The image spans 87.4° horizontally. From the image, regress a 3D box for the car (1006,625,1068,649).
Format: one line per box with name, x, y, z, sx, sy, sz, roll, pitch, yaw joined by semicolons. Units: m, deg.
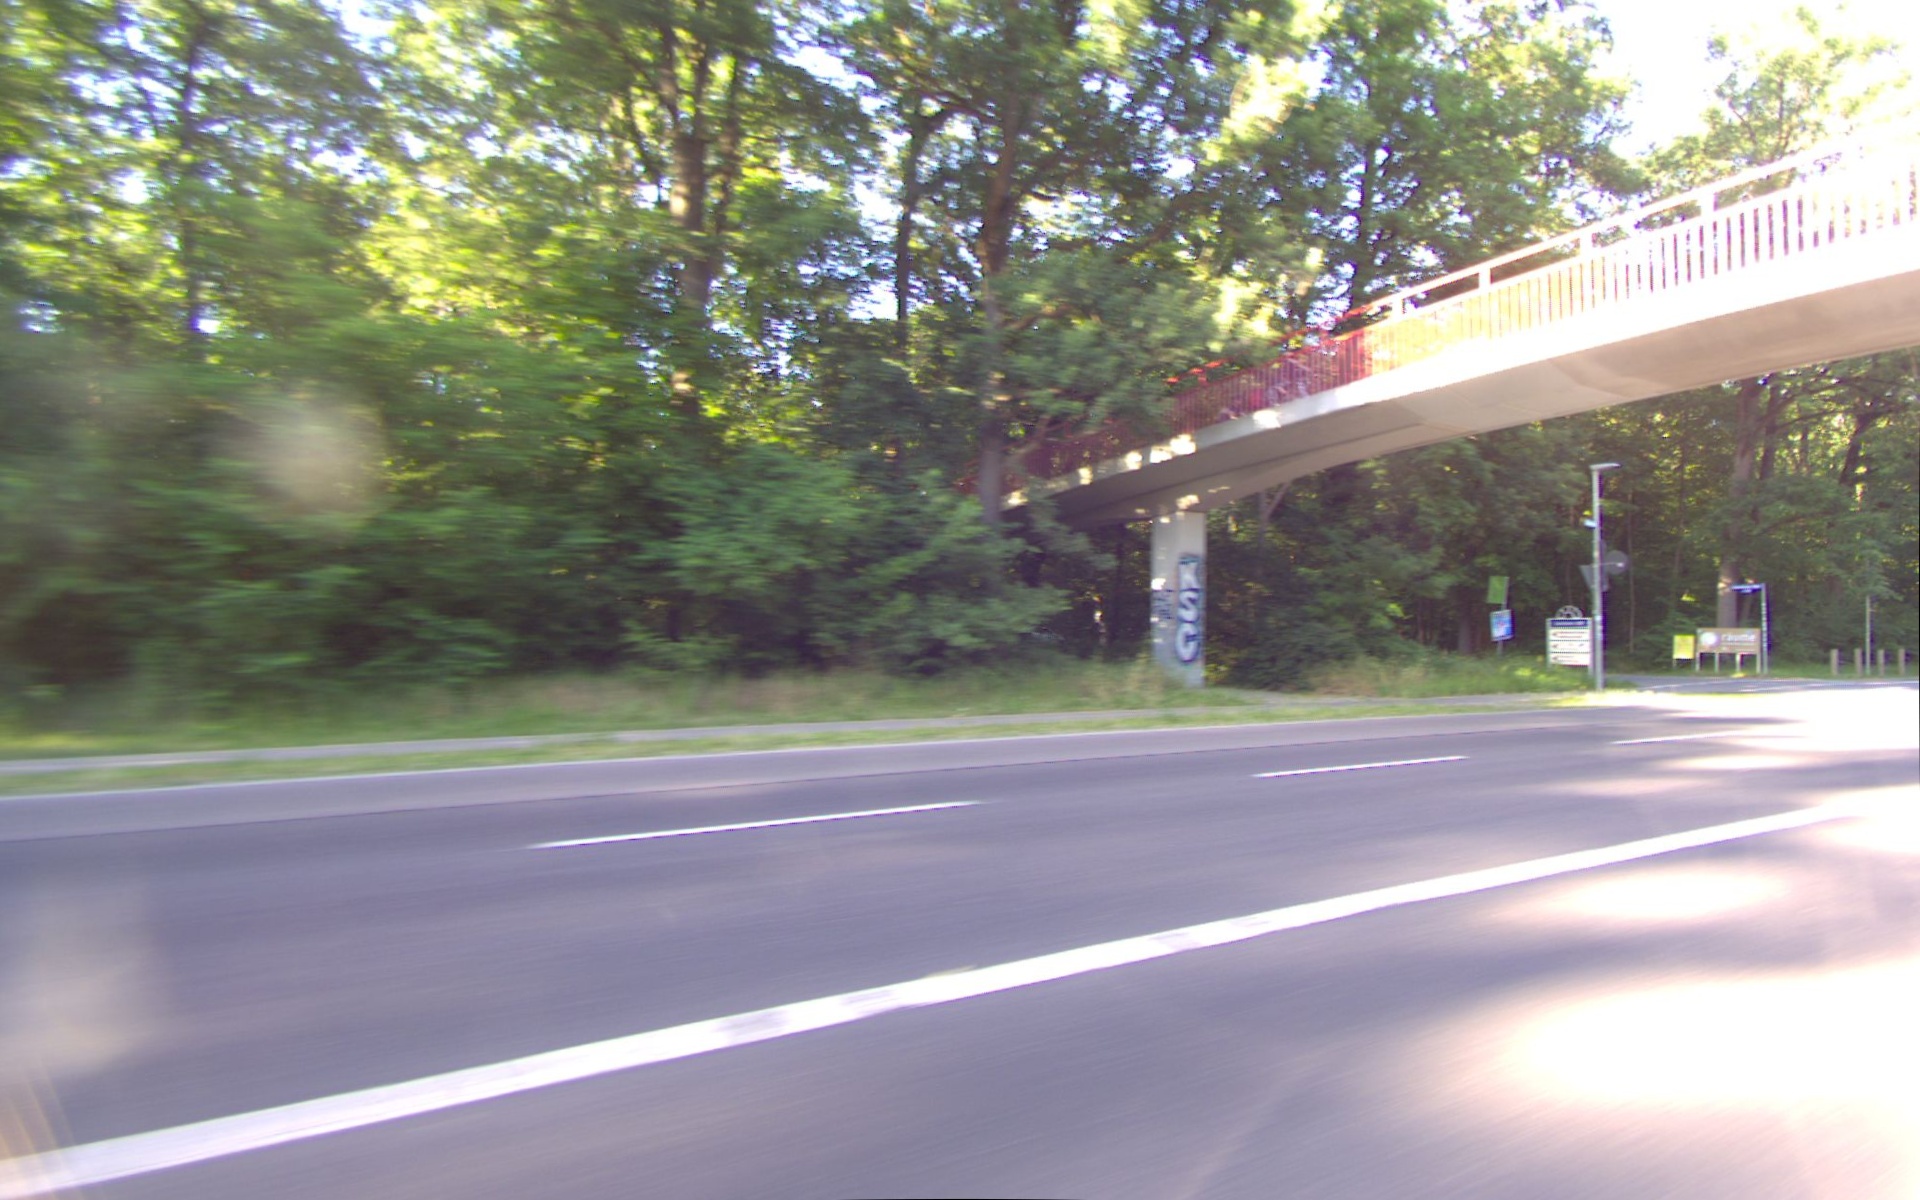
car;4.830;2.303;62.670;3.672;1.465;1.587;1;-1;-32
